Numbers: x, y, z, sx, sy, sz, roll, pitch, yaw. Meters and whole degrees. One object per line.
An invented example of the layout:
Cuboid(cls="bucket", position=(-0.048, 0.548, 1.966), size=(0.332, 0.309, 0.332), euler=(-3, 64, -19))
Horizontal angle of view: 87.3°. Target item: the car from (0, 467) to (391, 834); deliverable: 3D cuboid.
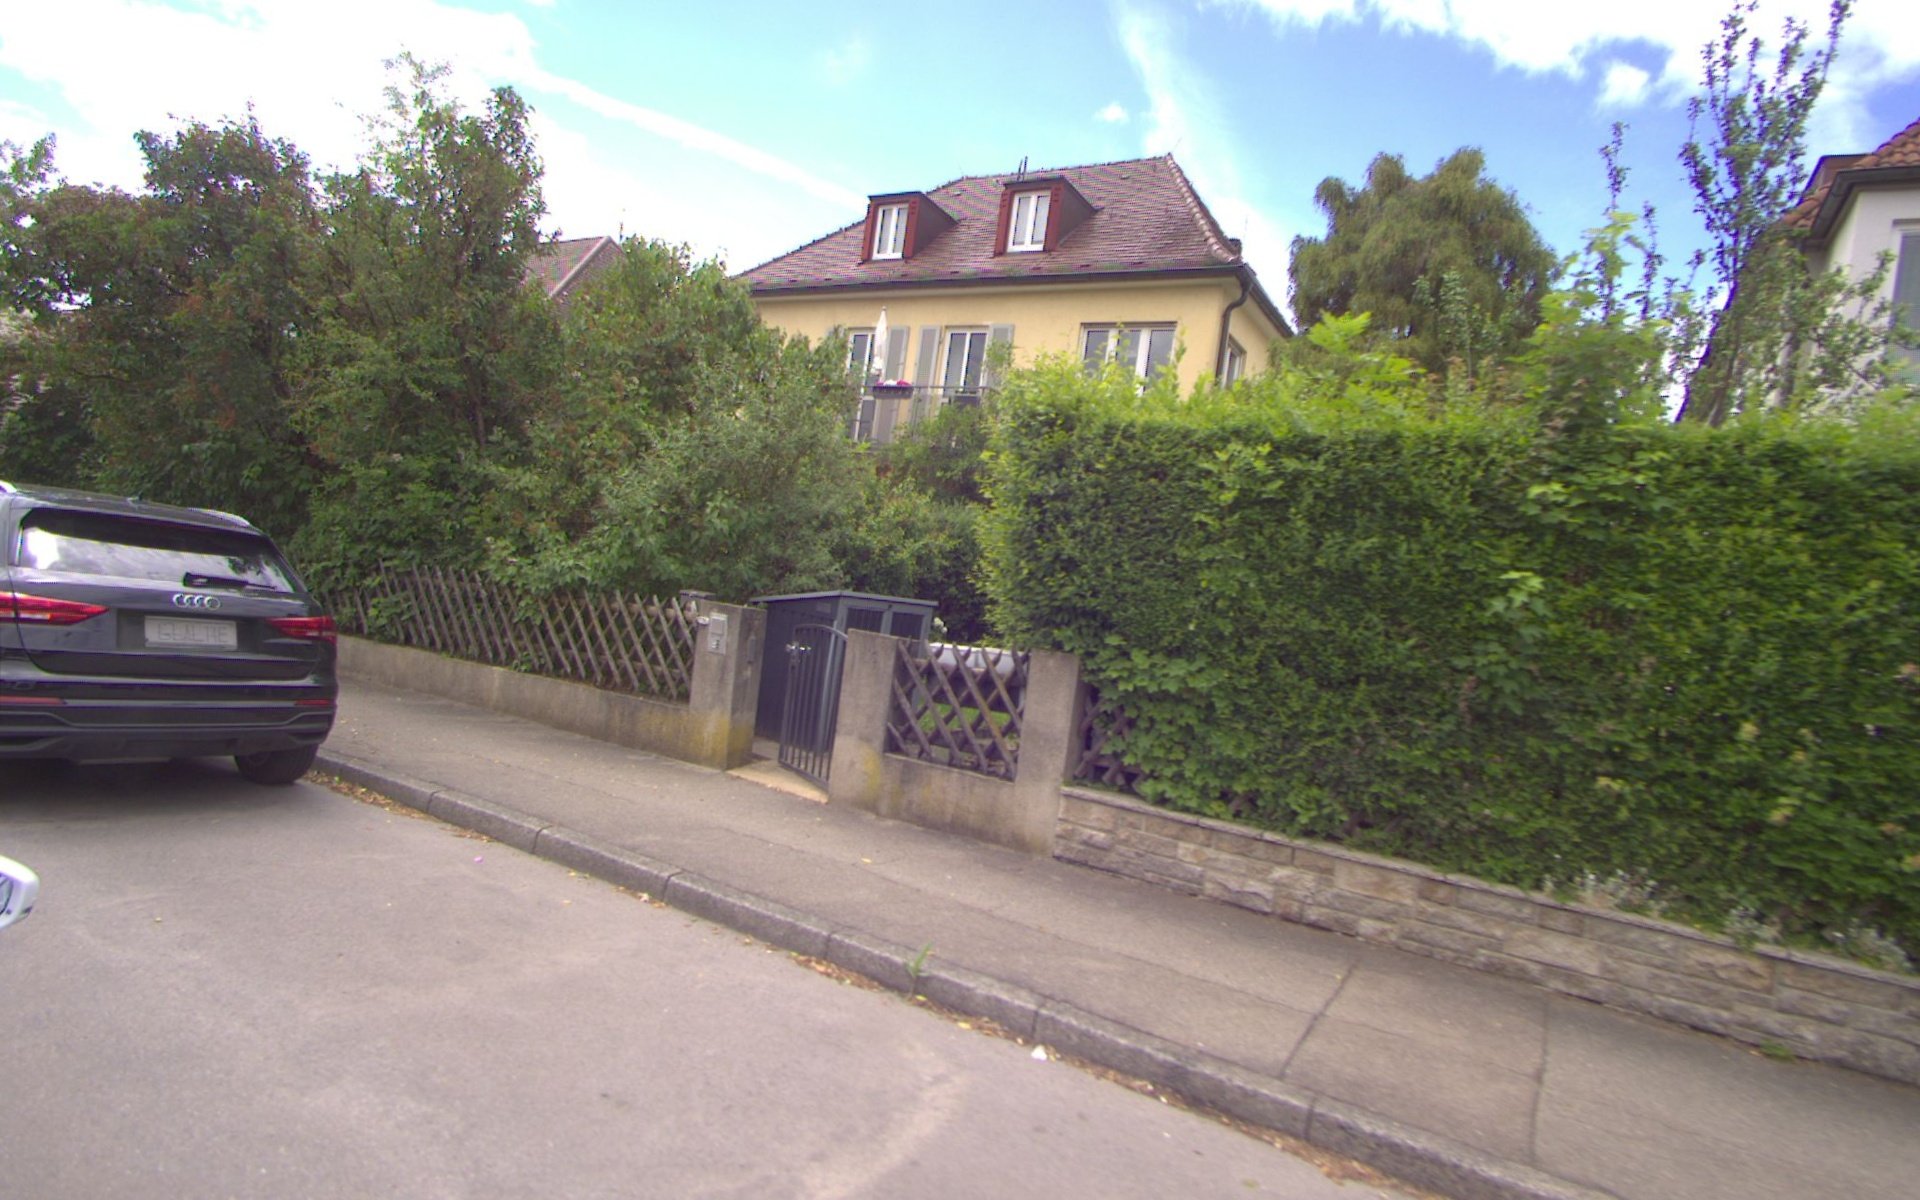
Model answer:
Cuboid(cls="car", position=(-5.516, 0.111, 6.108), size=(4.074, 1.611, 1.803), euler=(6, -1, 33))
